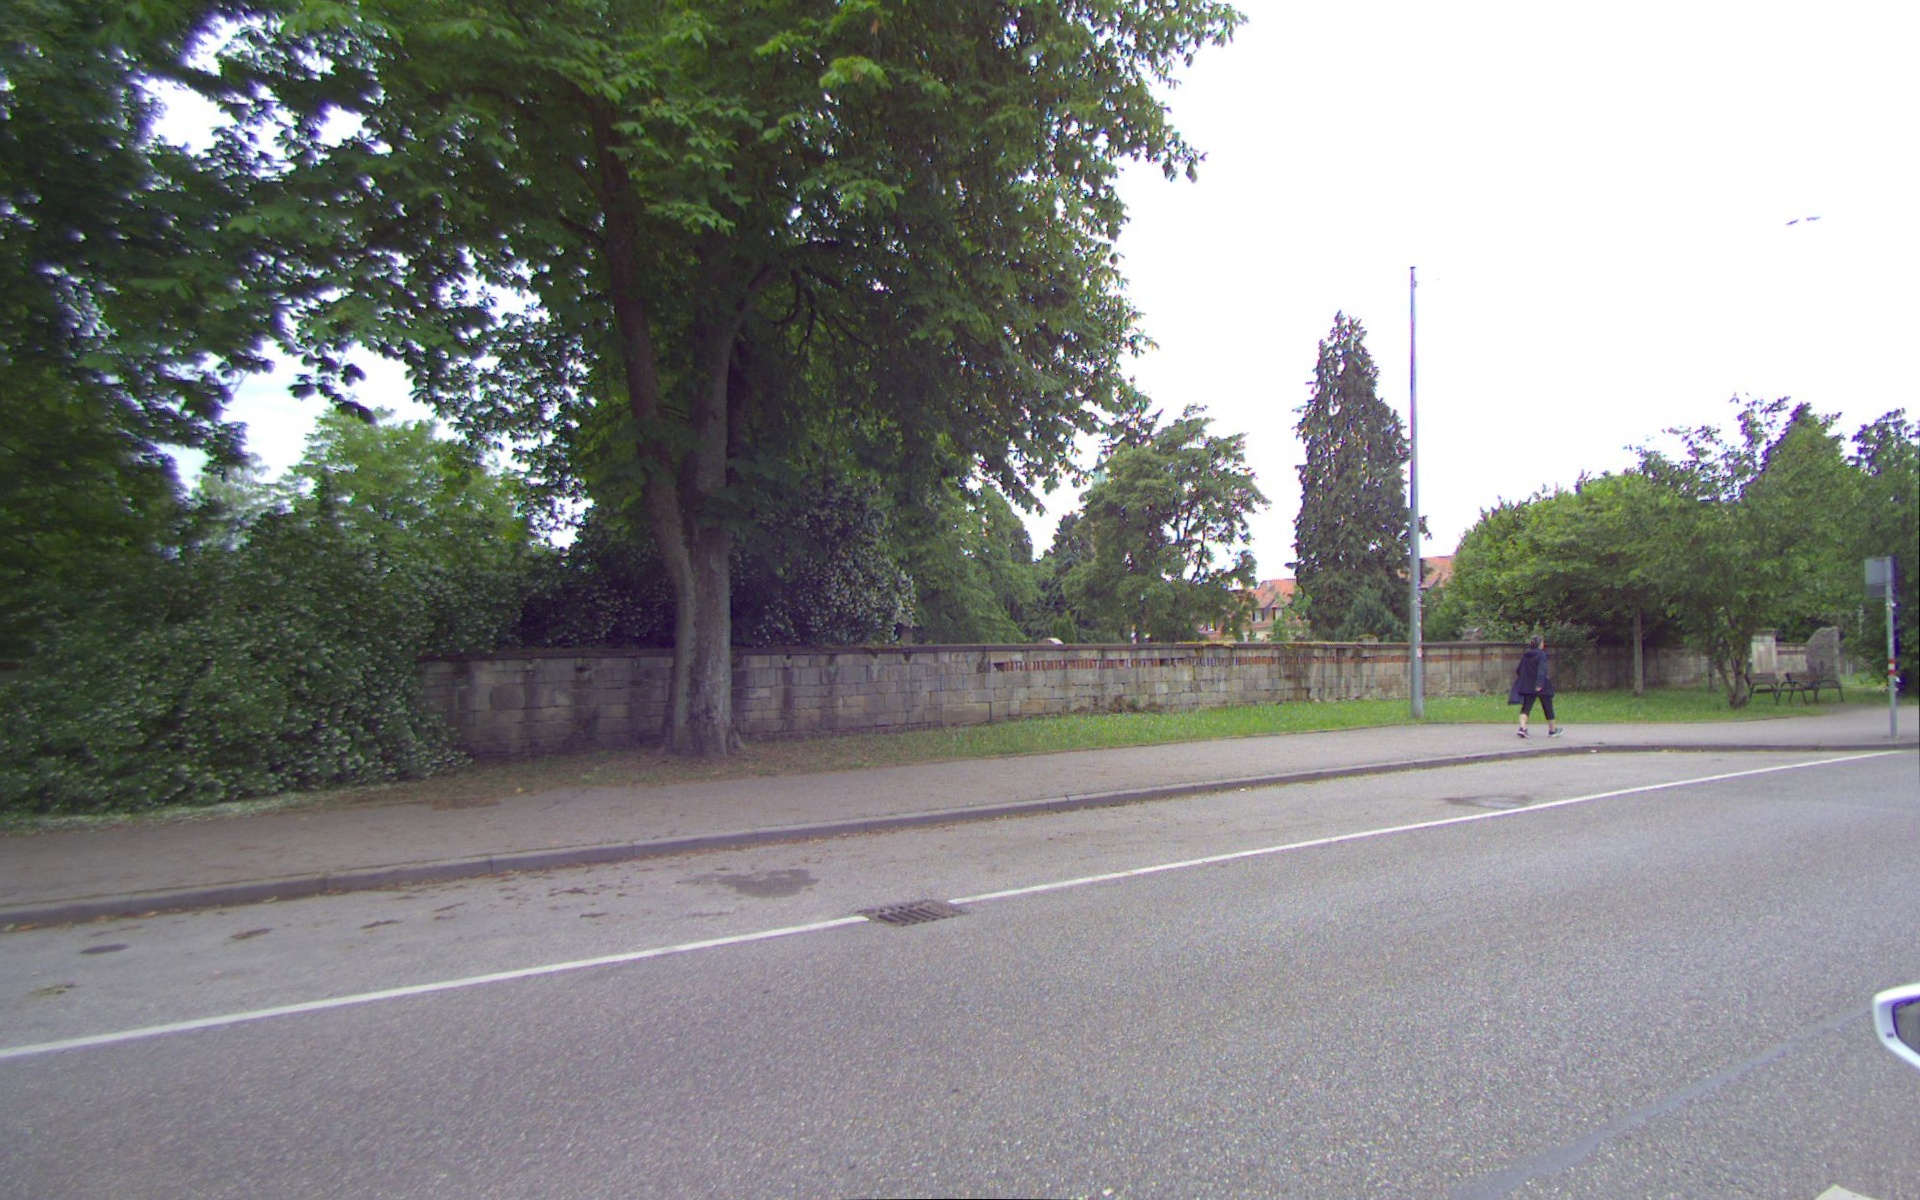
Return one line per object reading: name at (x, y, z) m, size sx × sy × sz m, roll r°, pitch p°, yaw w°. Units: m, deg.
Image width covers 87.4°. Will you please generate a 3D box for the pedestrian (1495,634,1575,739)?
pedestrian at (9.125, 1.349, 15.948) m, size 0.955 × 1.599 × 0.745 m, roll 1°, pitch -1°, yaw -30°
